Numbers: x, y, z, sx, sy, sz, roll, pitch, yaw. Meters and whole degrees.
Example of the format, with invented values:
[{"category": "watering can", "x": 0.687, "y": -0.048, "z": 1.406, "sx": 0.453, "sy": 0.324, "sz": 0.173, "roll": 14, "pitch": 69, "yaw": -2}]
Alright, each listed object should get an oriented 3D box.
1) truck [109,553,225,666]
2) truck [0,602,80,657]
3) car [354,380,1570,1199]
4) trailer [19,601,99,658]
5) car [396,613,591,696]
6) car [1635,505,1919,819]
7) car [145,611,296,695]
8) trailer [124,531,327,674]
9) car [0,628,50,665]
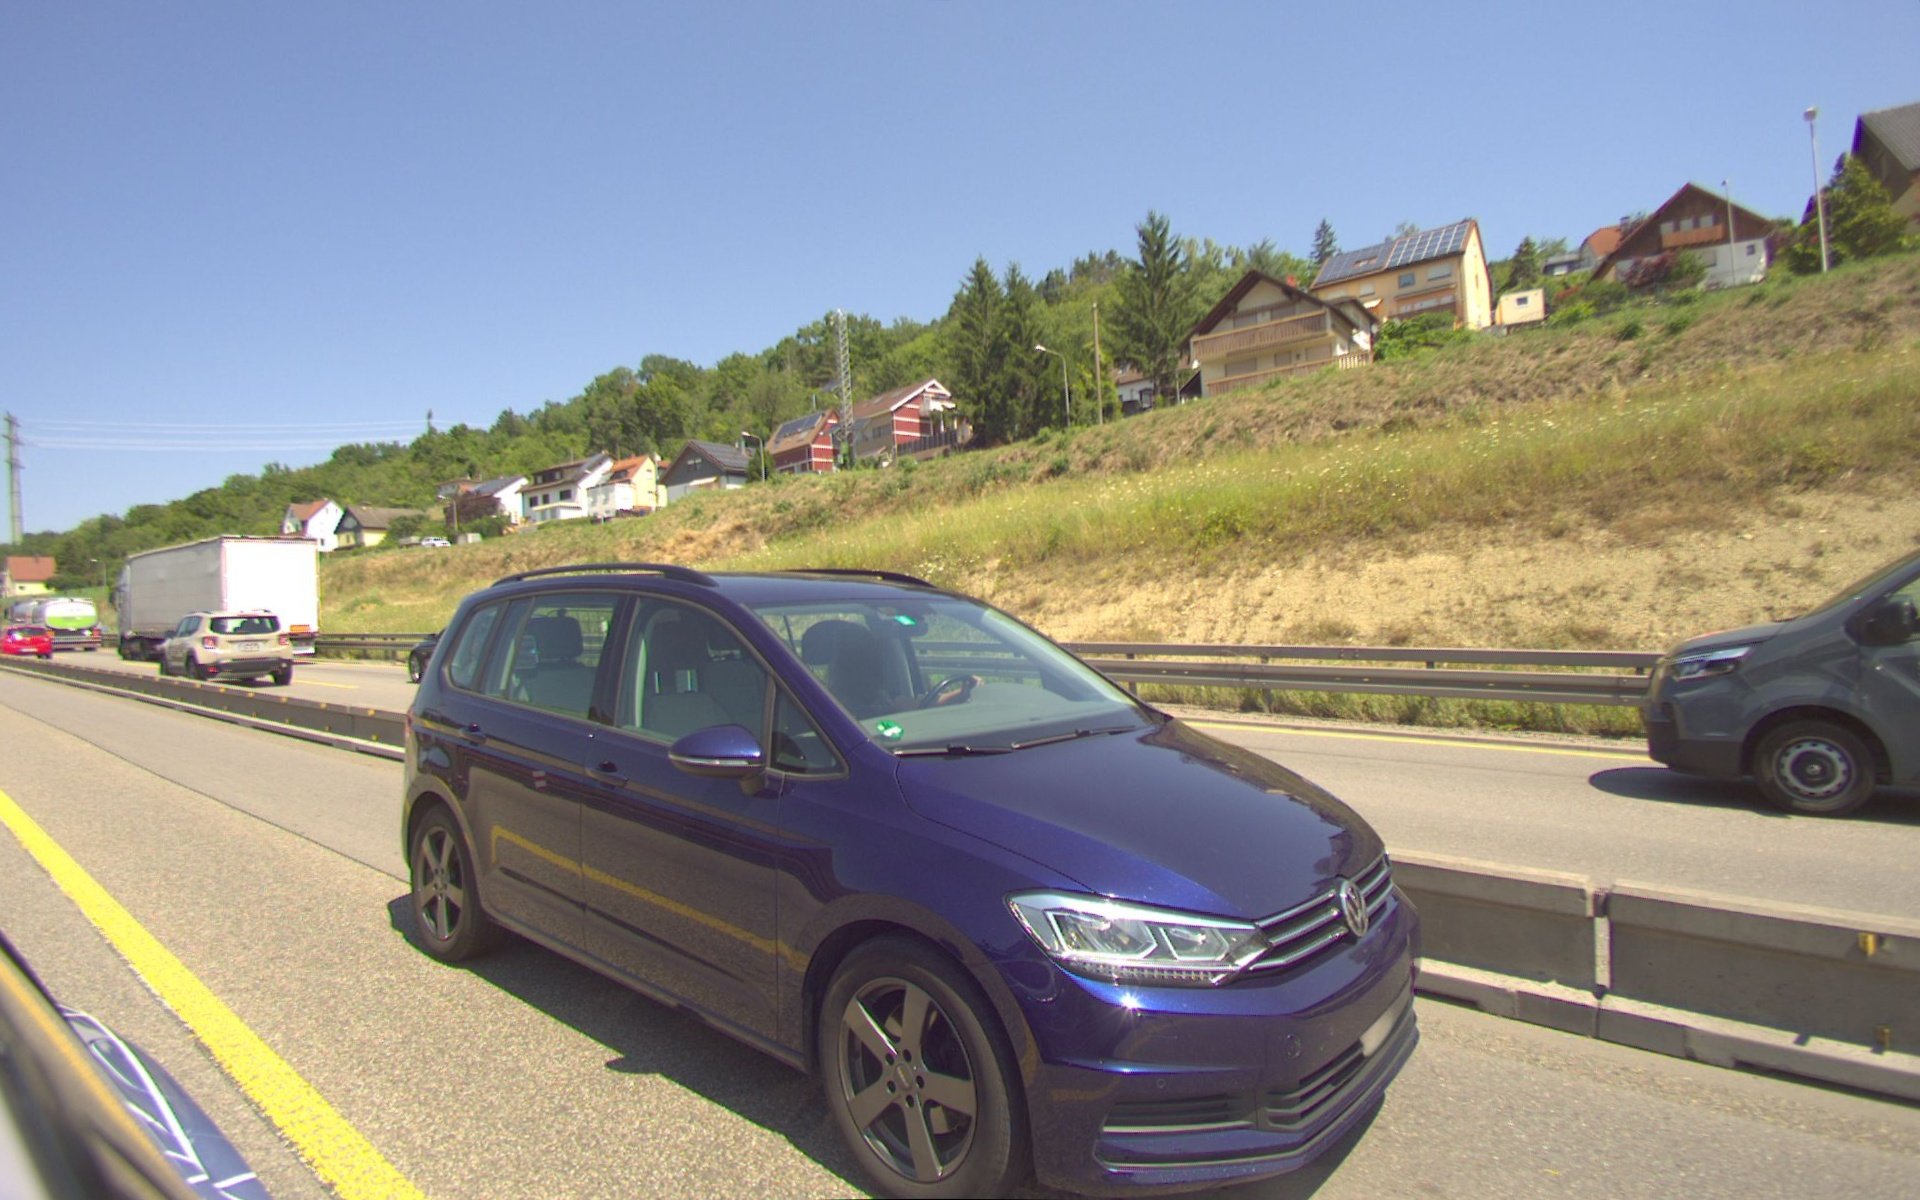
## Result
[{"category": "truck", "x": -31.821, "y": 0.414, "z": 40.575, "sx": 5.285, "sy": 4.213, "sz": 2.717, "roll": -2, "pitch": -1, "yaw": 41}, {"category": "truck", "x": -56.769, "y": 1.814, "z": 62.343, "sx": 8.955, "sy": 3.166, "sz": 2.698, "roll": -2, "pitch": -1, "yaw": 41}, {"category": "car", "x": -0.528, "y": 0.568, "z": 3.893, "sx": 4.650, "sy": 1.731, "sz": 1.757, "roll": -3, "pitch": -1, "yaw": 41}, {"category": "trailer", "x": -50.997, "y": 1.674, "z": 57.226, "sx": 6.367, "sy": 3.023, "sz": 2.585, "roll": -2, "pitch": -1, "yaw": 41}, {"category": "car", "x": -9.898, "y": 1.068, "z": 21.309, "sx": 4.716, "sy": 1.518, "sz": 1.973, "roll": -1, "pitch": 0, "yaw": 41}, {"category": "car", "x": 7.411, "y": 0.371, "z": 6.312, "sx": 5.118, "sy": 1.941, "sz": 2.017, "roll": -2, "pitch": -2, "yaw": 40}, {"category": "car", "x": -16.529, "y": 1.109, "z": 22.548, "sx": 4.412, "sy": 1.679, "sz": 1.813, "roll": -1, "pitch": -1, "yaw": 41}, {"category": "trailer", "x": -26.148, "y": 0.231, "z": 35.550, "sx": 13.972, "sy": 4.213, "sz": 2.757, "roll": -2, "pitch": -1, "yaw": 41}, {"category": "car", "x": -40.896, "y": 2.002, "z": 43.878, "sx": 3.998, "sy": 1.477, "sz": 1.652, "roll": -2, "pitch": -1, "yaw": 41}]
